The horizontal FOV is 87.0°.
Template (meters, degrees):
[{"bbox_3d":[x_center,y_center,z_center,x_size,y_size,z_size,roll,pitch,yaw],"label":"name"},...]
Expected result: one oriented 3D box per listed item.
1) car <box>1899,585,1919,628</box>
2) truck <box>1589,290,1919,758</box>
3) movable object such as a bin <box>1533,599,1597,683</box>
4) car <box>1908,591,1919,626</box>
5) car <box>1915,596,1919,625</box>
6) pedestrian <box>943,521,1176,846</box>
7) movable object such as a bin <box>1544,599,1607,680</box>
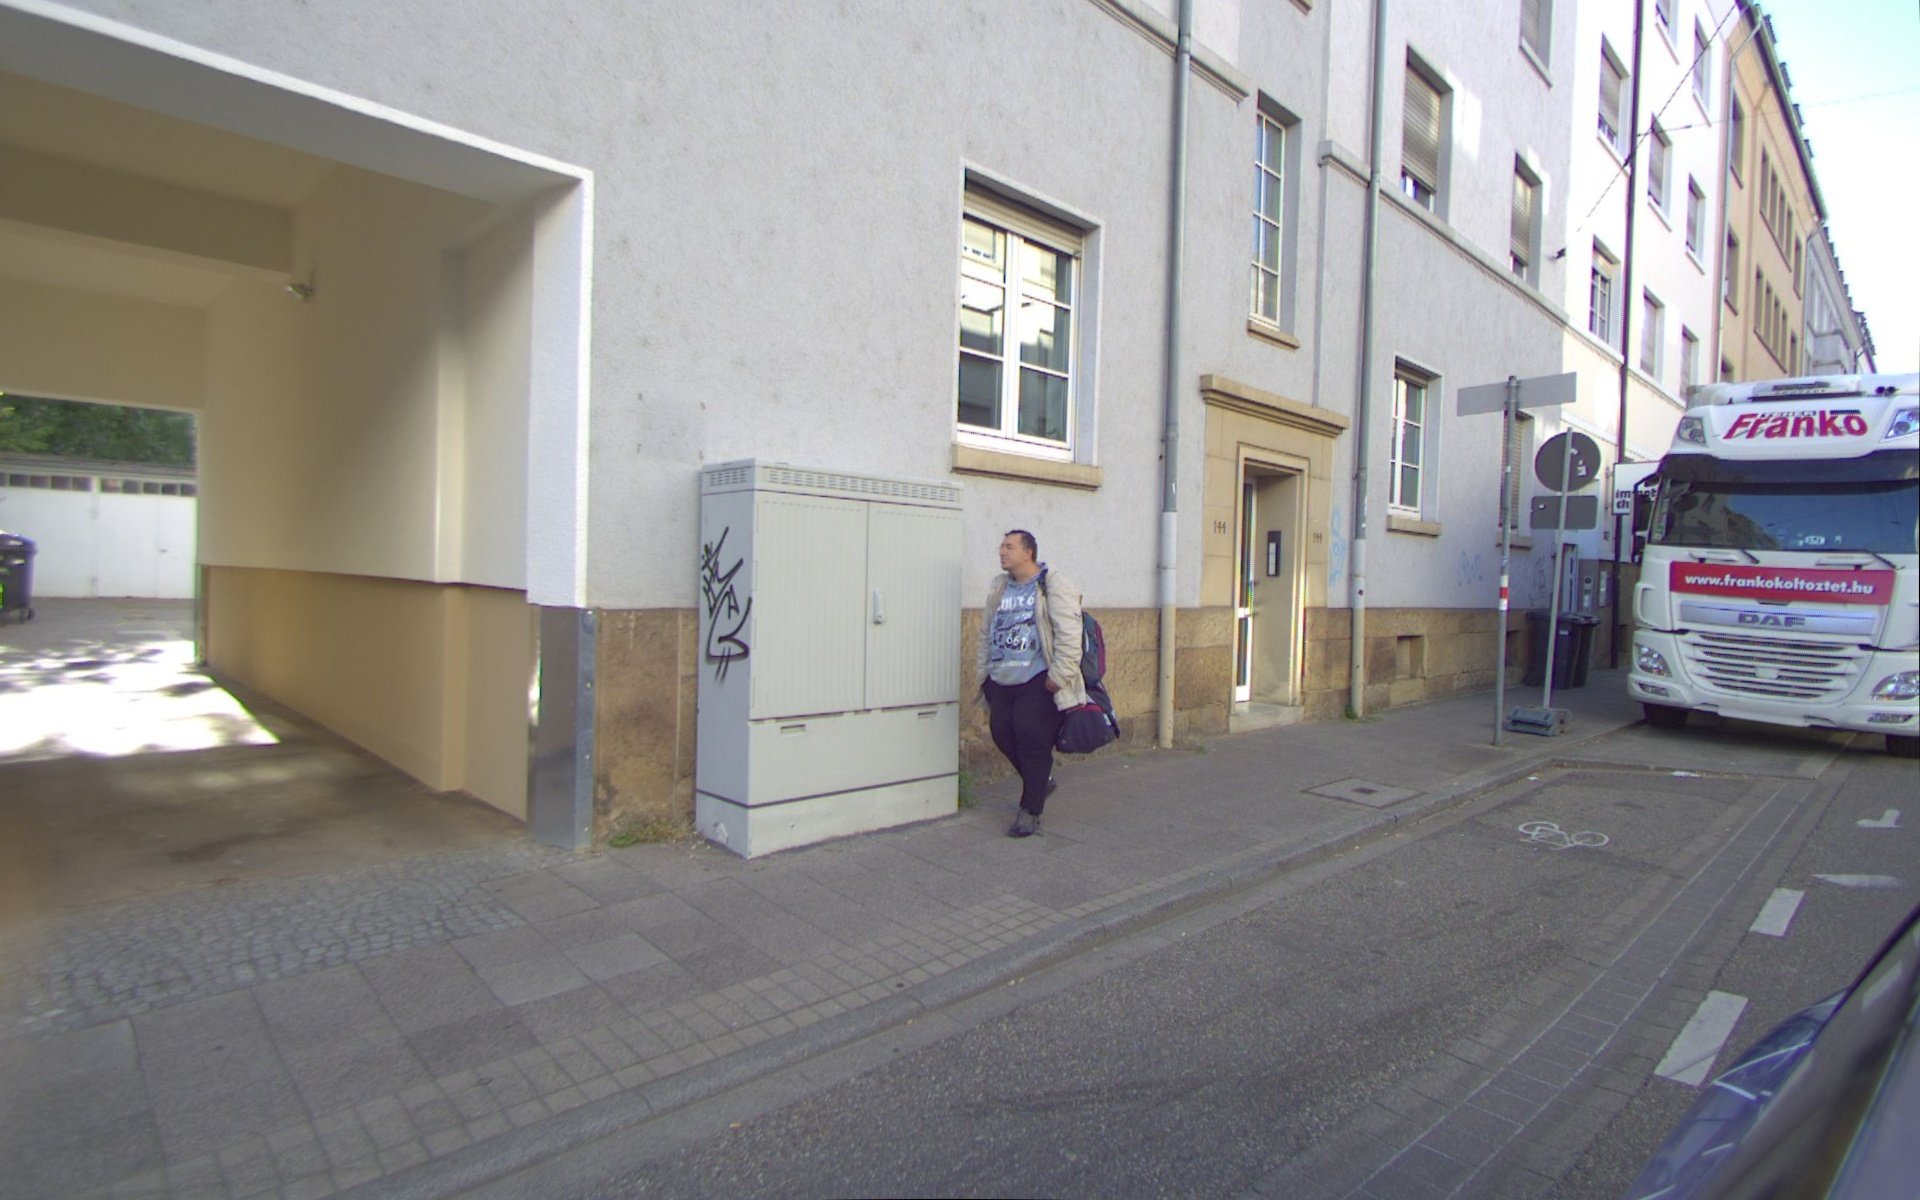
[{"bbox_3d":[41.475,0.297,43.246,4.515,1.714,1.710,0,3,-45],"label":"car"},{"bbox_3d":[11.950,-0.715,13.713,11.580,4.123,2.864,0,2,-43],"label":"truck"},{"bbox_3d":[8.550,0.562,14.299,0.658,1.118,0.533,2,1,43],"label":"movable object such as a bin"},{"bbox_3d":[49.802,0.473,51.608,4.116,1.719,1.702,0,3,-42],"label":"car"},{"bbox_3d":[53.745,0.607,55.548,3.798,1.523,1.701,0,2,-44],"label":"car"},{"bbox_3d":[0.533,0.384,5.460,0.854,1.553,0.826,1,3,-43],"label":"pedestrian"},{"bbox_3d":[8.956,0.557,14.718,0.658,1.118,0.533,2,1,43],"label":"movable object such as a bin"}]
